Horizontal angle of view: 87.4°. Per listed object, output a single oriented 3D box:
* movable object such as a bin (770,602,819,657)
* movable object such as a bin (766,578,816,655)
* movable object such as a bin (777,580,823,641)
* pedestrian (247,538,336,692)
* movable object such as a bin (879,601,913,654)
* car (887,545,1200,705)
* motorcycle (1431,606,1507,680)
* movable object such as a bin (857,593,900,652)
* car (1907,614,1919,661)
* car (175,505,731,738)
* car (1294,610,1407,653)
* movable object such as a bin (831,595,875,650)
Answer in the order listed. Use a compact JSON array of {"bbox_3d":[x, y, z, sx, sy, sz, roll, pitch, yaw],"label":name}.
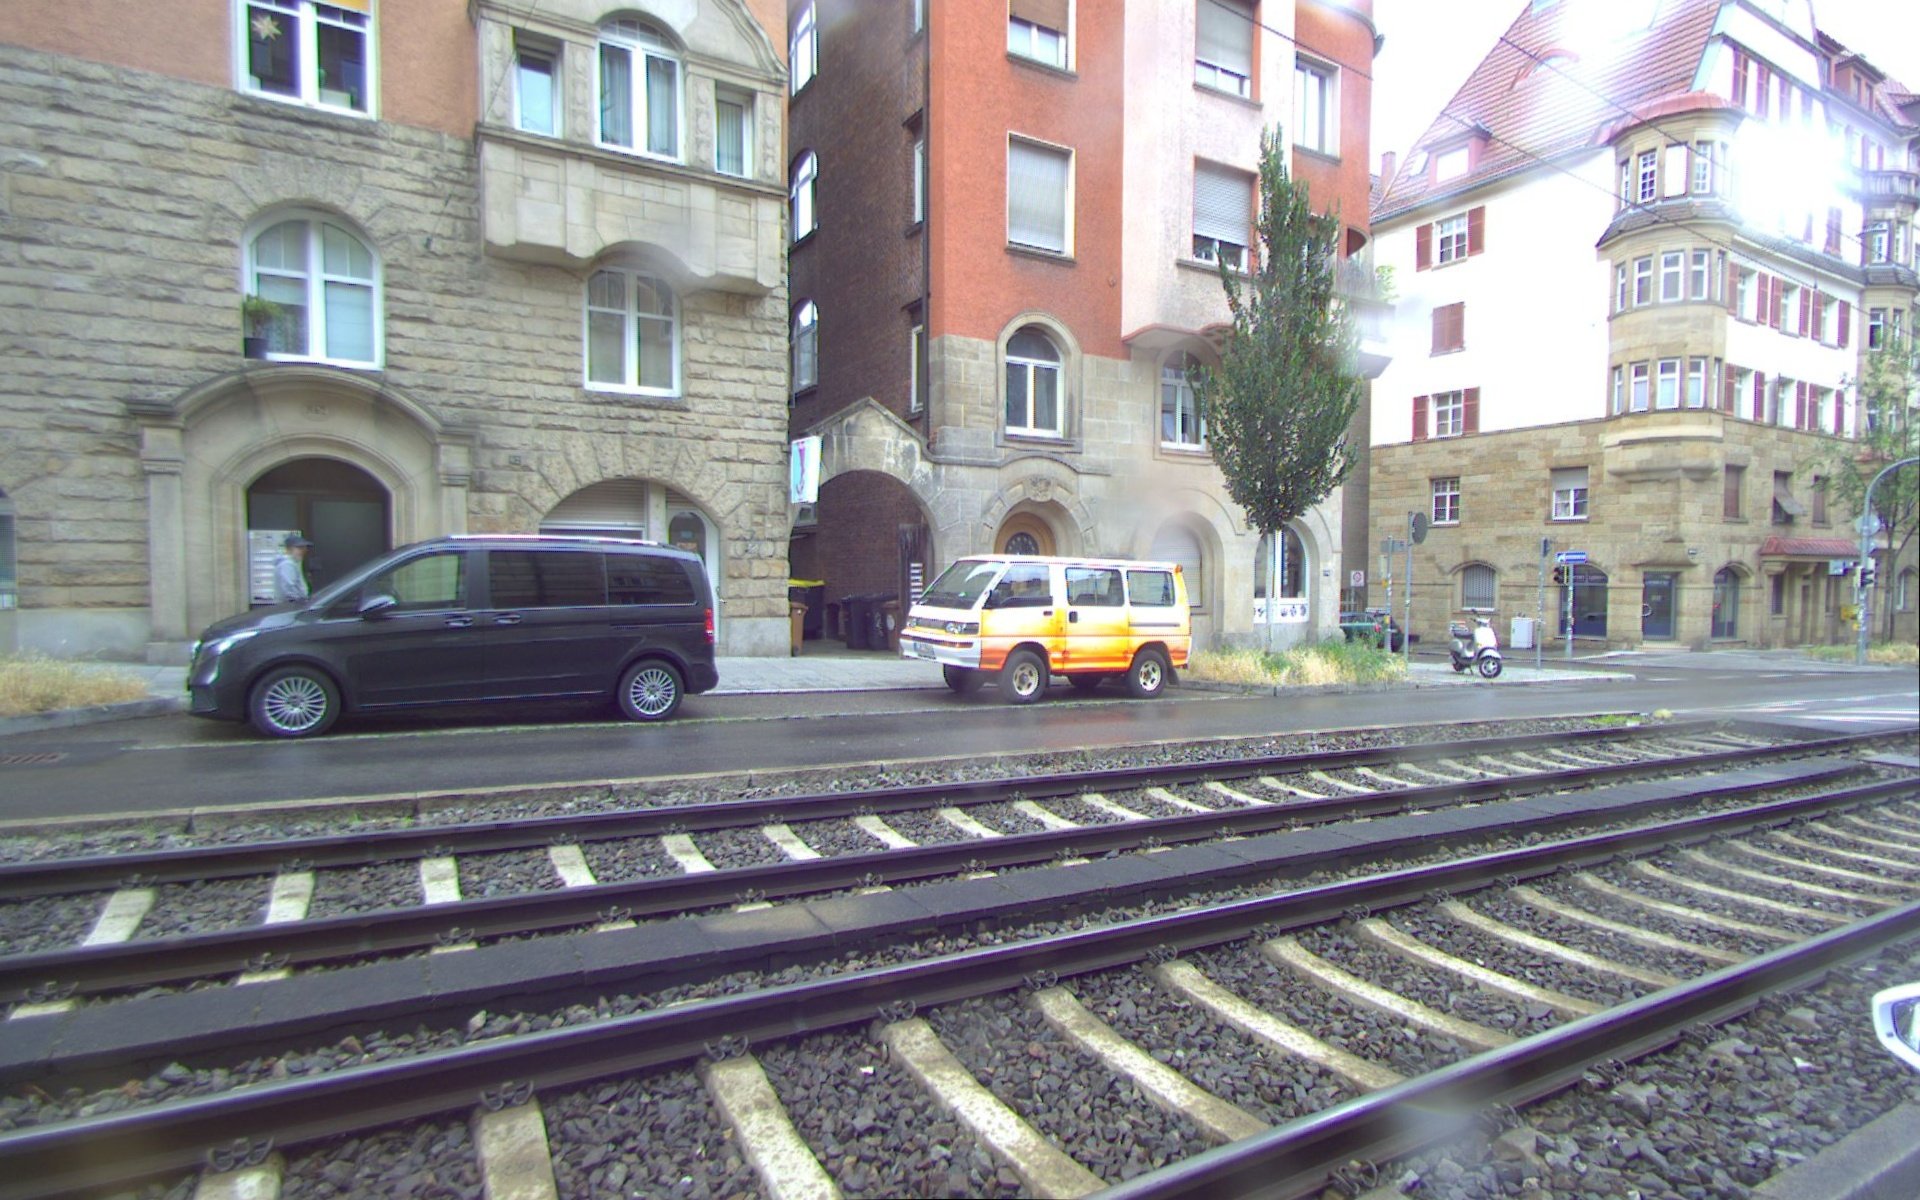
[{"bbox_3d":[-2.901,0.513,17.582,0.627,0.918,0.793,1,1,-27],"label":"movable object such as a bin"},{"bbox_3d":[-3.116,0.291,18.455,0.648,1.360,0.903,1,1,-27],"label":"movable object such as a bin"},{"bbox_3d":[-3.620,0.226,22.648,0.676,1.324,1.154,1,1,-26],"label":"movable object such as a bin"},{"bbox_3d":[-7.597,0.163,11.443,0.756,1.664,0.696,2,4,-30],"label":"pedestrian"},{"bbox_3d":[-1.182,0.506,18.623,0.442,0.957,0.557,1,-1,-27],"label":"movable object such as a bin"},{"bbox_3d":[1.266,0.368,14.431,4.295,2.001,1.721,2,0,-32],"label":"car"},{"bbox_3d":[10.097,0.823,19.992,0.612,1.384,1.596,2,0,-3],"label":"motorcycle"},{"bbox_3d":[-1.555,0.430,19.131,0.607,1.090,0.679,1,-1,-27],"label":"movable object such as a bin"},{"bbox_3d":[34.159,1.325,34.346,3.994,1.573,1.741,2,0,-34],"label":"car"},{"bbox_3d":[-5.060,0.243,10.586,4.769,1.968,1.984,2,0,-30],"label":"car"},{"bbox_3d":[14.452,1.143,37.335,1.683,1.423,3.618,2,0,-34],"label":"car"},{"bbox_3d":[-2.093,0.435,19.677,0.607,1.052,0.793,1,-1,-27],"label":"movable object such as a bin"}]
